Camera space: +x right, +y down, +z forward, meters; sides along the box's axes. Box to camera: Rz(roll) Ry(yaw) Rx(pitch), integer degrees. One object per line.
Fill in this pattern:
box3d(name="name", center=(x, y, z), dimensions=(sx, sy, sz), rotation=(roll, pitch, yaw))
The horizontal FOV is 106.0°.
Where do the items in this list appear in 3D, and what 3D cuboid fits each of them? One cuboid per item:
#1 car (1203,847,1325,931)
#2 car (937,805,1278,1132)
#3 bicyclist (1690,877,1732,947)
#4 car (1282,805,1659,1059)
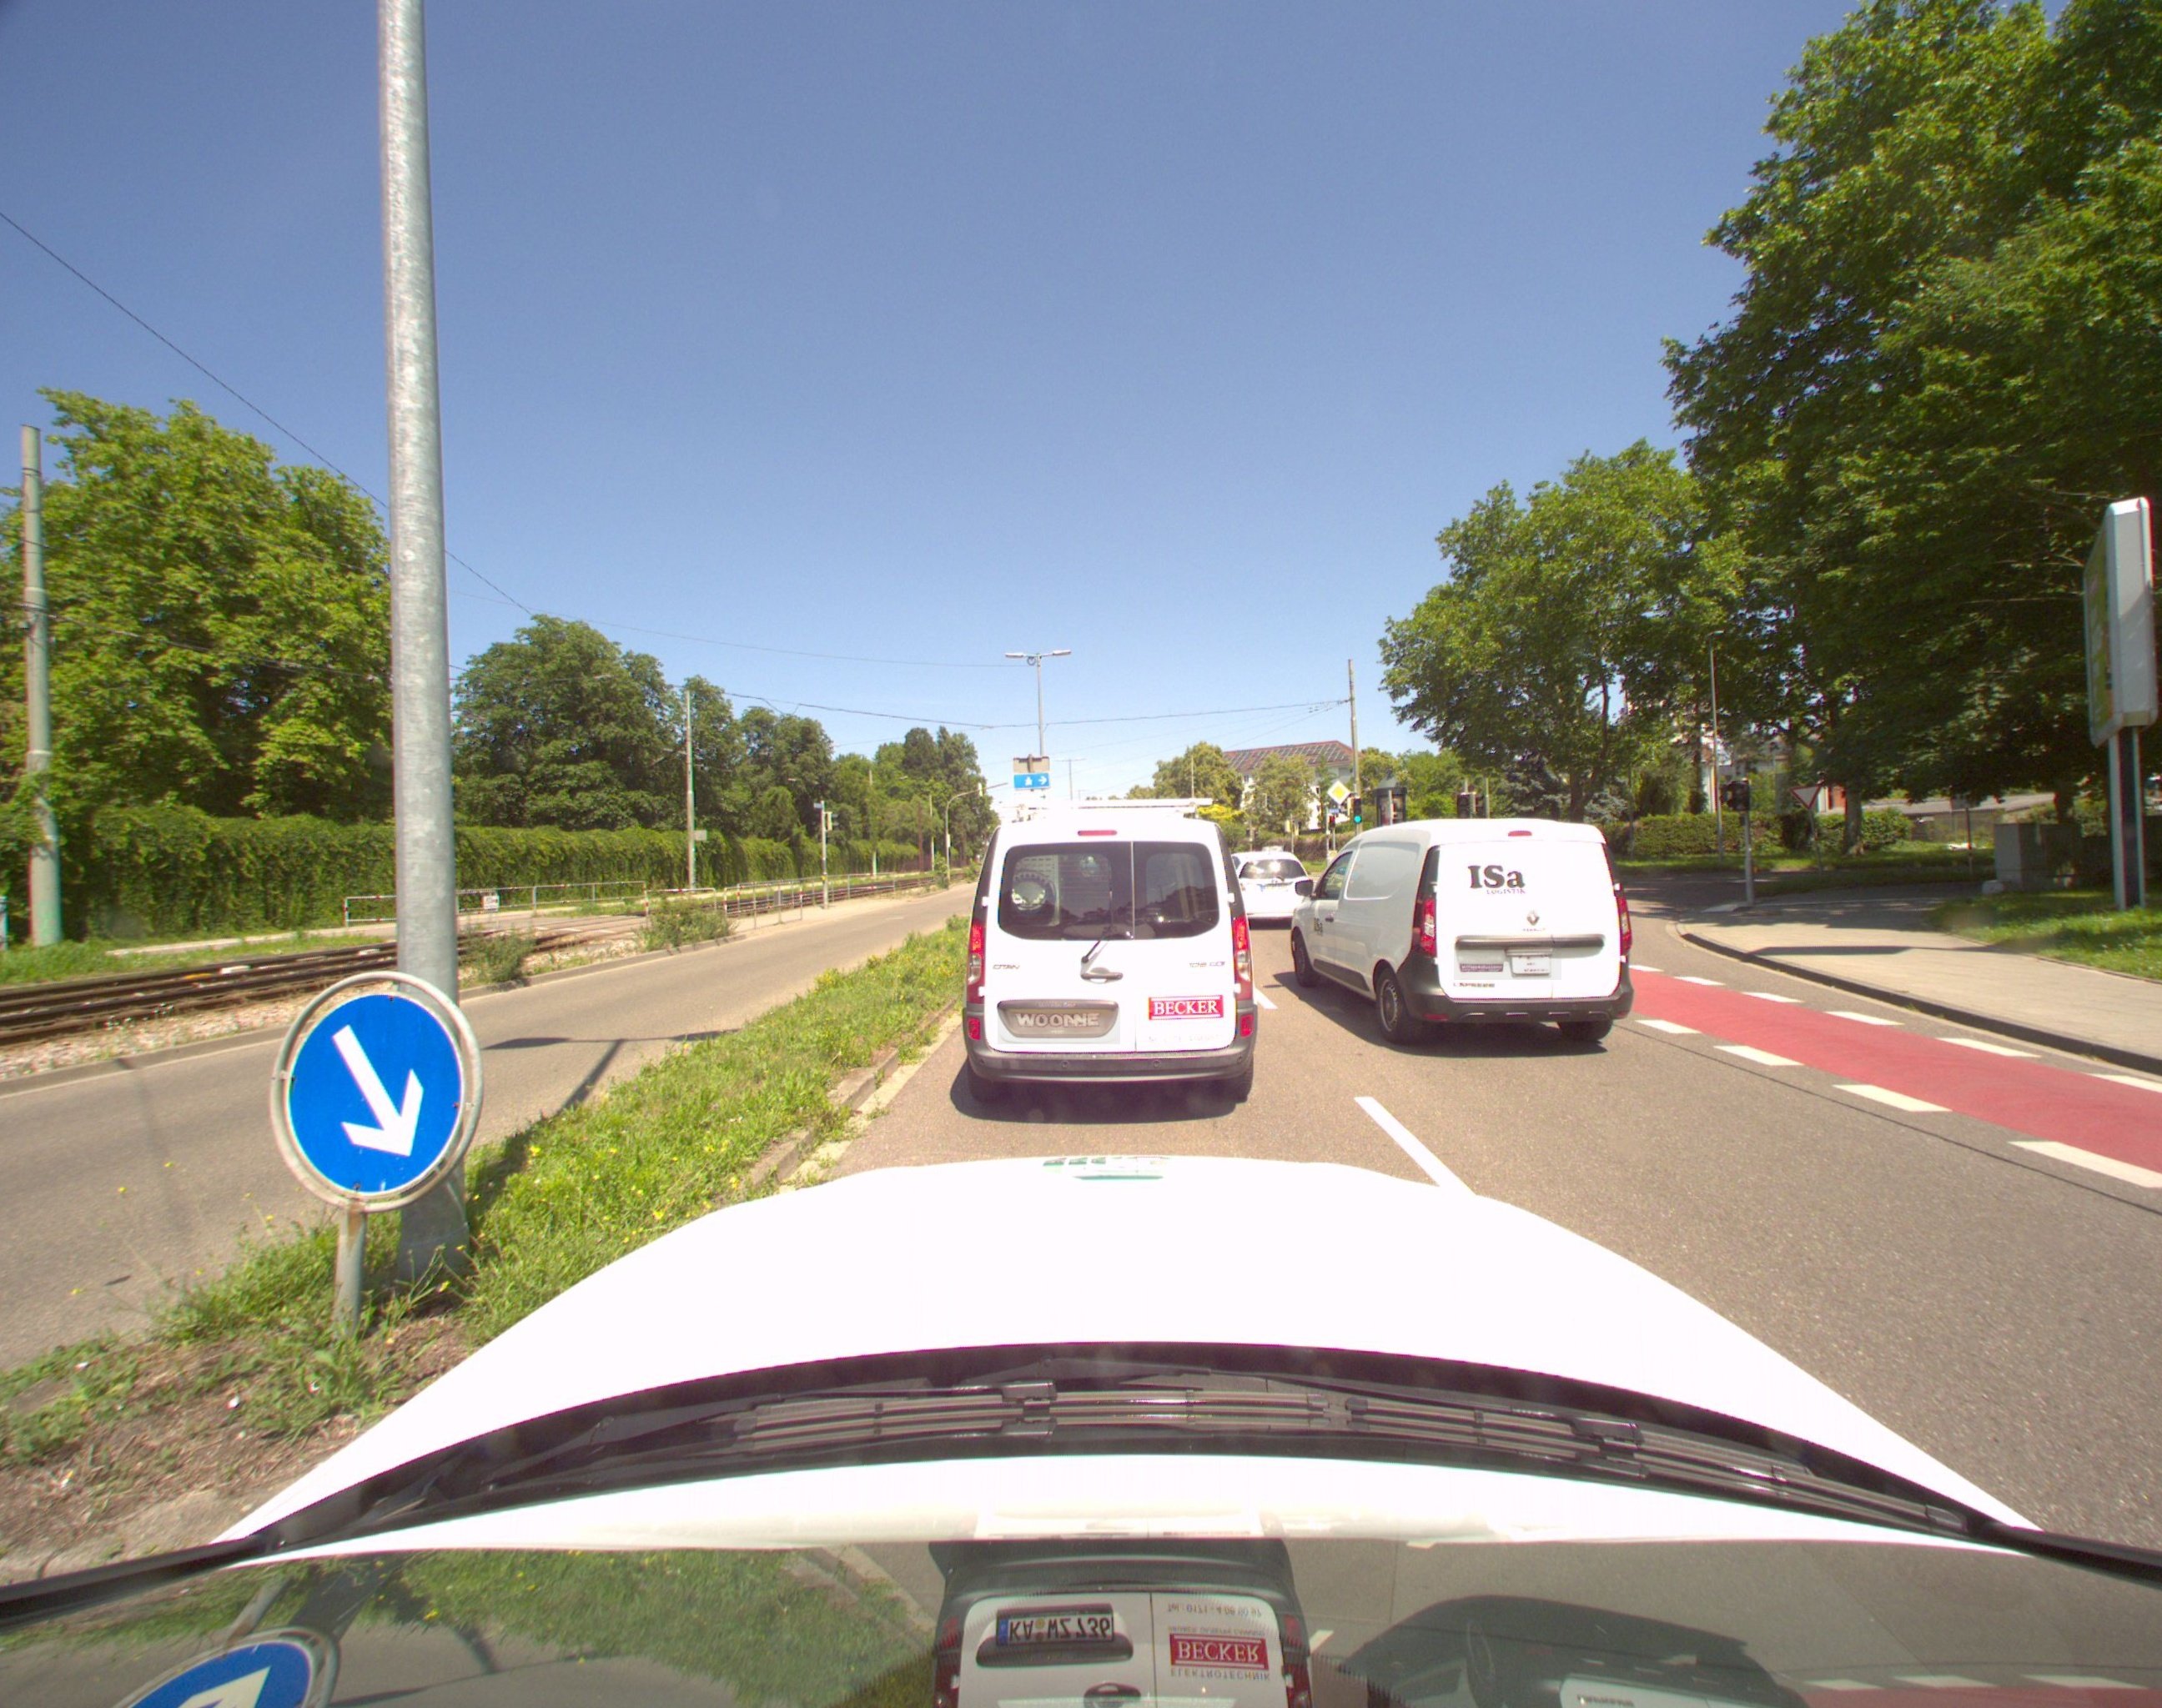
box3d(name="car", center=(3.770, 0.645, 17.419), dimensions=(1.828, 1.568, 4.002), rotation=(0, 0, 2))
box3d(name="car", center=(0.211, 0.624, 6.613), dimensions=(1.814, 1.739, 4.398), rotation=(-1, 0, 2))
box3d(name="bicyclist", center=(16.541, 1.502, 21.384), dimensions=(0.573, 1.788, 0.770), rotation=(0, 0, 9))
box3d(name="car", center=(3.262, 0.558, 7.813), dimensions=(1.721, 1.788, 4.065), rotation=(0, 0, 1))
